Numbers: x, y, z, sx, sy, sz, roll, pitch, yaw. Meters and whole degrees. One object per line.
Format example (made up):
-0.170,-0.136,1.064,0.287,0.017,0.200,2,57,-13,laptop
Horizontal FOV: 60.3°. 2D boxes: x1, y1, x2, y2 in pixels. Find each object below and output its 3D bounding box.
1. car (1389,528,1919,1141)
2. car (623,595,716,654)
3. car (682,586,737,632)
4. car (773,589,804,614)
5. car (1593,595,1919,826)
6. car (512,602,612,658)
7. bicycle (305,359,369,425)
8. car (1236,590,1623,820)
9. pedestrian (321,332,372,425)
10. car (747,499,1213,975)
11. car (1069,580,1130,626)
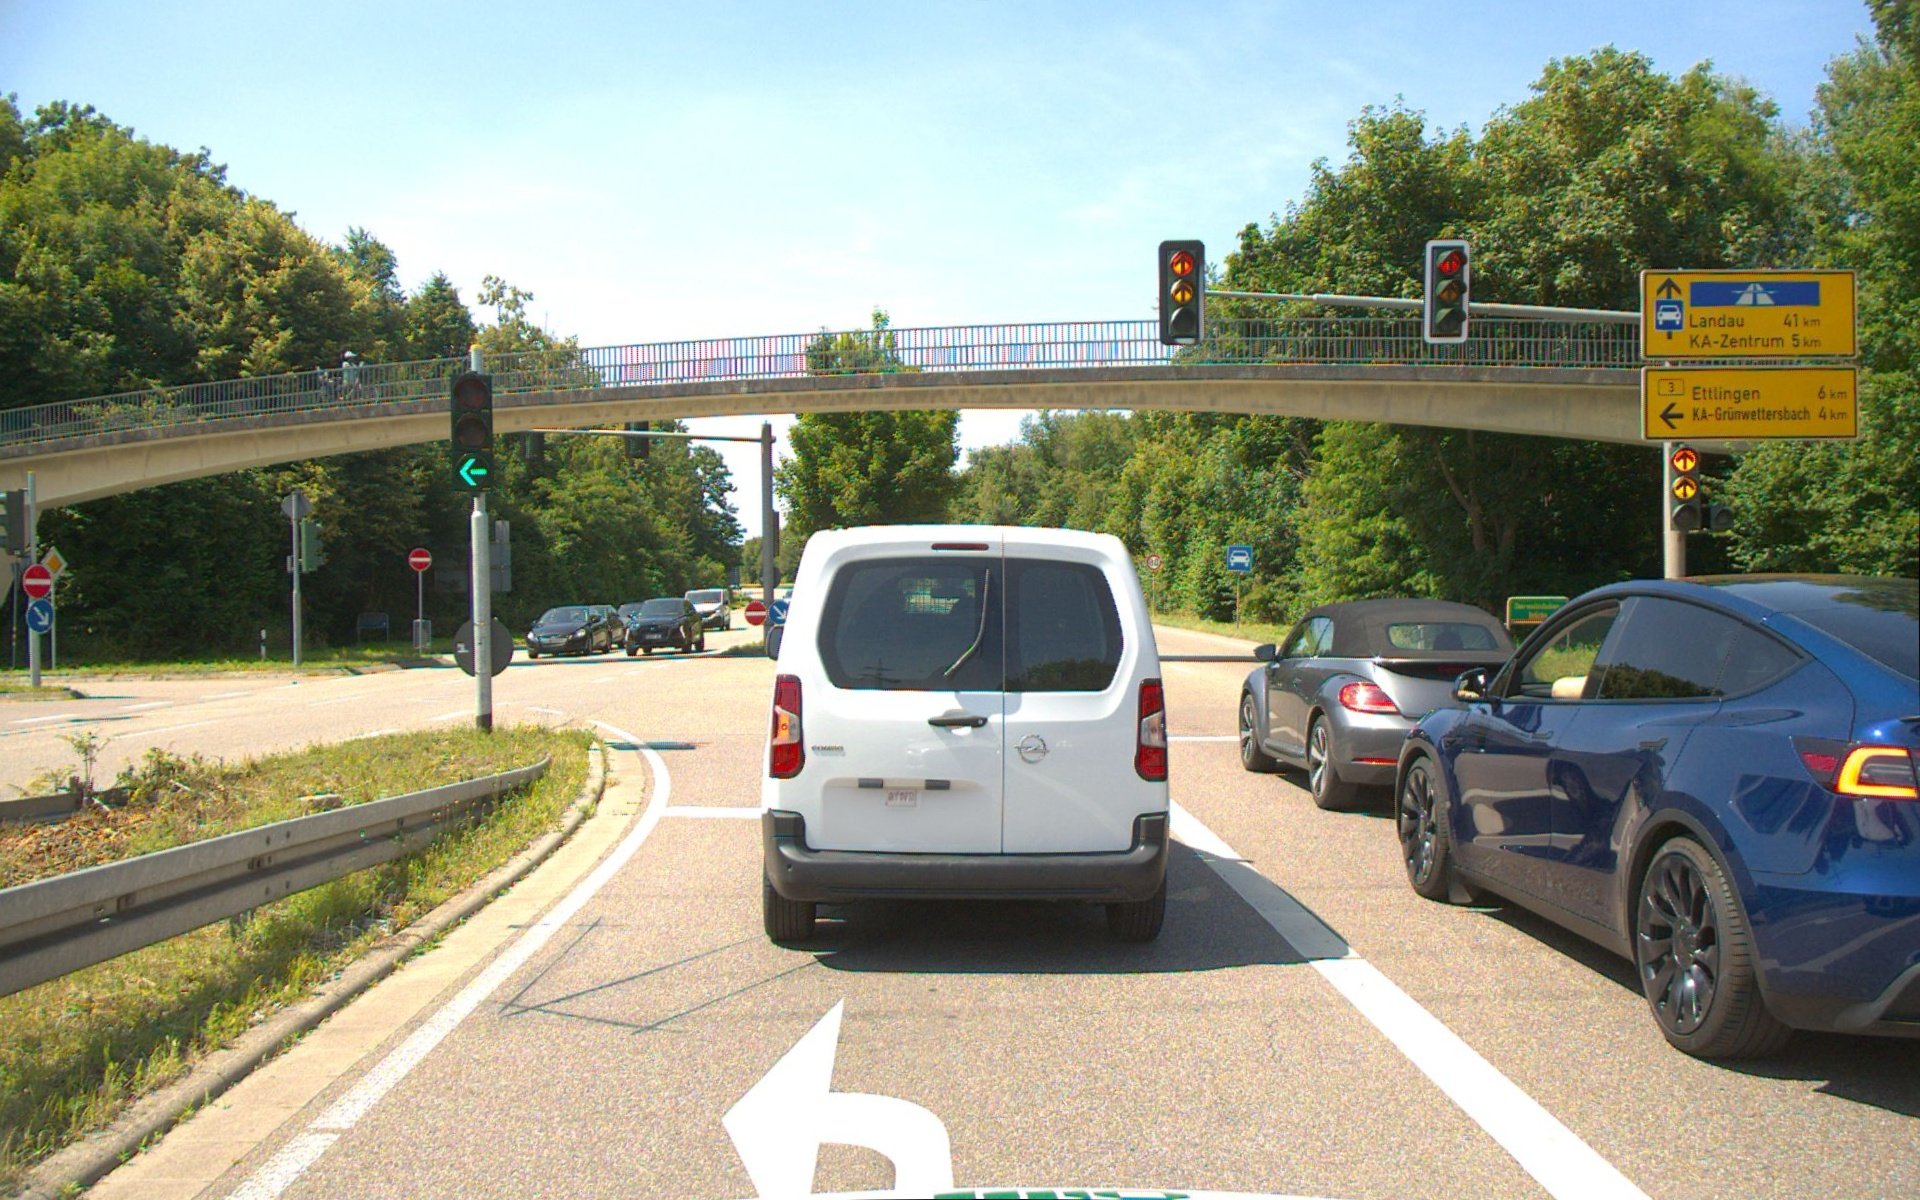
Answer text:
3.318,0.640,6.800,1.862,1.673,4.519,1,0,-1,car
-8.080,0.656,46.311,1.953,1.550,4.027,0,0,-1,car
-11.848,0.433,78.592,2.165,2.028,5.482,-2,0,-5,car
-14.493,0.121,140.213,2.163,2.028,4.733,-2,0,-1,car
6.821,0.735,13.112,1.862,1.503,4.379,1,0,-1,car
-11.681,0.843,48.825,1.967,1.486,4.054,-2,0,-1,car
-15.741,-5.255,41.791,1.494,1.500,0.470,-3,-2,15,bicycle
3.466,0.691,13.005,1.862,1.503,3.938,1,0,-1,car
-15.570,-5.599,41.995,0.765,2.177,0.932,-3,-2,15,pedestrian
0.026,0.513,8.498,1.812,1.857,3.980,1,1,-2,car
5.491,0.100,65.695,2.000,1.728,5.086,-1,1,0,car
